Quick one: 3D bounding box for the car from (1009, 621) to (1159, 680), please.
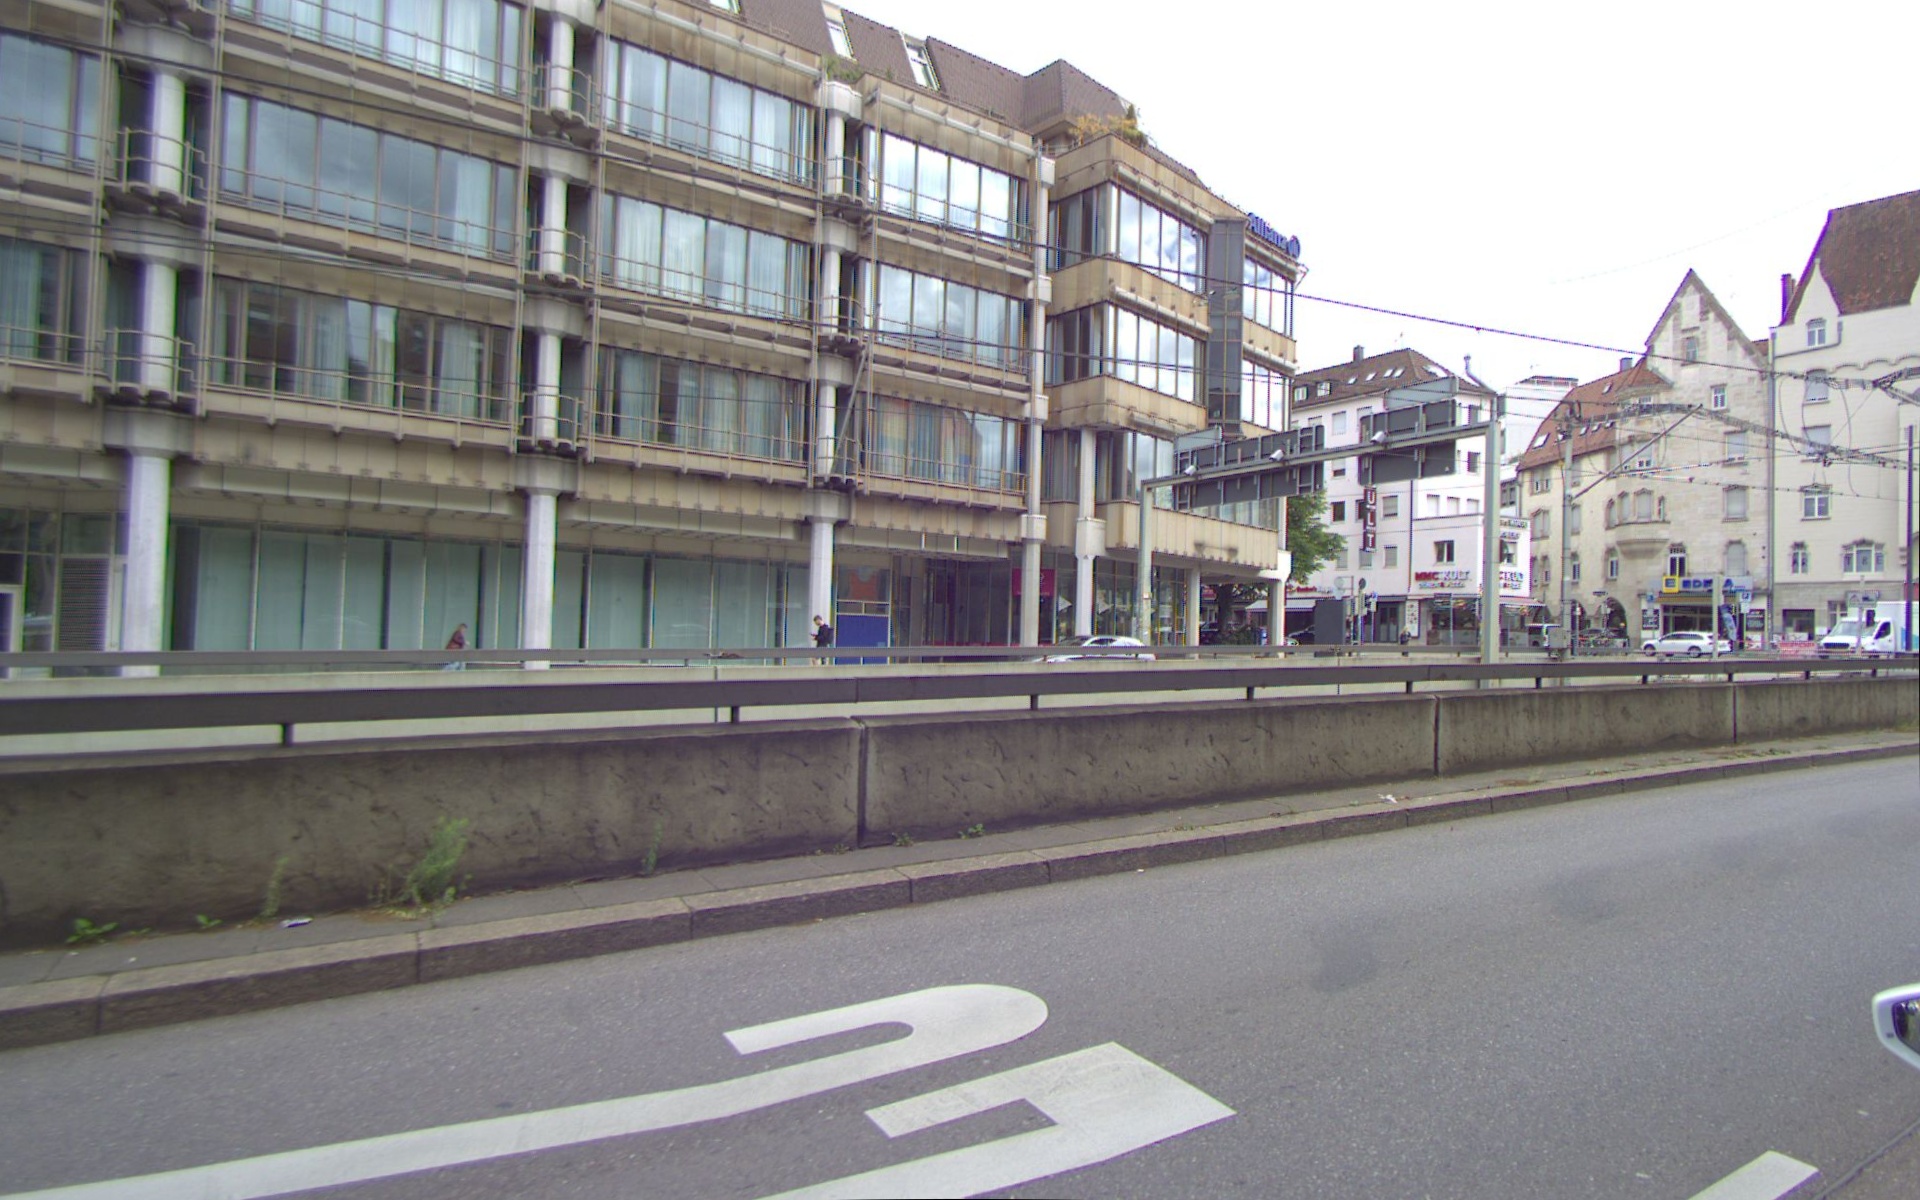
[{"bbox_3d":[3.482,1.385,28.004,3.996,1.521,1.656,2,-1,-30],"label":"car"}]

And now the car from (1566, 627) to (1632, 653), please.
[{"bbox_3d":[43.224,2.746,68.010,1.608,1.706,3.777,1,-3,-11],"label":"car"}]

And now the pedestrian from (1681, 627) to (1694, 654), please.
[{"bbox_3d":[49.734,2.783,68.685,0.565,1.803,0.512,1,-1,15],"label":"pedestrian"}]

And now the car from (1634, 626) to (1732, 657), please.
[{"bbox_3d":[42.305,2.417,58.891,1.728,1.581,4.493,2,0,-20],"label":"car"}]

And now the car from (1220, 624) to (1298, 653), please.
[{"bbox_3d":[17.410,2.229,58.567,1.935,1.550,3.953,2,0,-40],"label":"car"}]

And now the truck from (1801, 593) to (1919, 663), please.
[{"bbox_3d":[43.736,1.343,47.679,7.257,3.117,2.265,2,0,-18],"label":"truck"}]

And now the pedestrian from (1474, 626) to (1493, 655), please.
[{"bbox_3d":[32.011,2.472,61.449,0.643,1.728,0.781,1,-1,-20],"label":"pedestrian"}]

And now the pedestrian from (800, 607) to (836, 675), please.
[{"bbox_3d":[-3.980,1.141,28.115,0.731,1.835,0.727,2,0,-31],"label":"pedestrian"}]

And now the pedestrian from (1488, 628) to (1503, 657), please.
[{"bbox_3d":[32.724,2.594,61.373,0.567,1.803,0.510,1,-1,-13],"label":"pedestrian"}]

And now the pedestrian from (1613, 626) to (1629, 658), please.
[{"bbox_3d":[37.843,2.380,57.516,0.567,1.803,0.510,1,-1,-13],"label":"pedestrian"}]

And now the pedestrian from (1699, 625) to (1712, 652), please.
[{"bbox_3d":[50.735,2.643,68.356,0.507,1.803,0.570,2,-1,-39],"label":"pedestrian"}]

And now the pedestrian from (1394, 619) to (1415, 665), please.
[{"bbox_3d":[17.764,1.668,40.137,0.569,1.803,0.508,1,-1,-23],"label":"pedestrian"}]

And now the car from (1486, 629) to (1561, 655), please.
[{"bbox_3d":[38.153,2.812,68.084,1.726,1.581,4.498,2,0,-16],"label":"car"}]

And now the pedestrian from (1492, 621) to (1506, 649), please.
[{"bbox_3d":[33.919,2.199,63.228,0.588,1.803,0.510,1,-1,-13],"label":"pedestrian"}]

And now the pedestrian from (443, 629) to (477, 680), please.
[{"bbox_3d":[-13.076,1.428,26.274,0.731,1.282,0.727,2,0,-31],"label":"pedestrian"}]
